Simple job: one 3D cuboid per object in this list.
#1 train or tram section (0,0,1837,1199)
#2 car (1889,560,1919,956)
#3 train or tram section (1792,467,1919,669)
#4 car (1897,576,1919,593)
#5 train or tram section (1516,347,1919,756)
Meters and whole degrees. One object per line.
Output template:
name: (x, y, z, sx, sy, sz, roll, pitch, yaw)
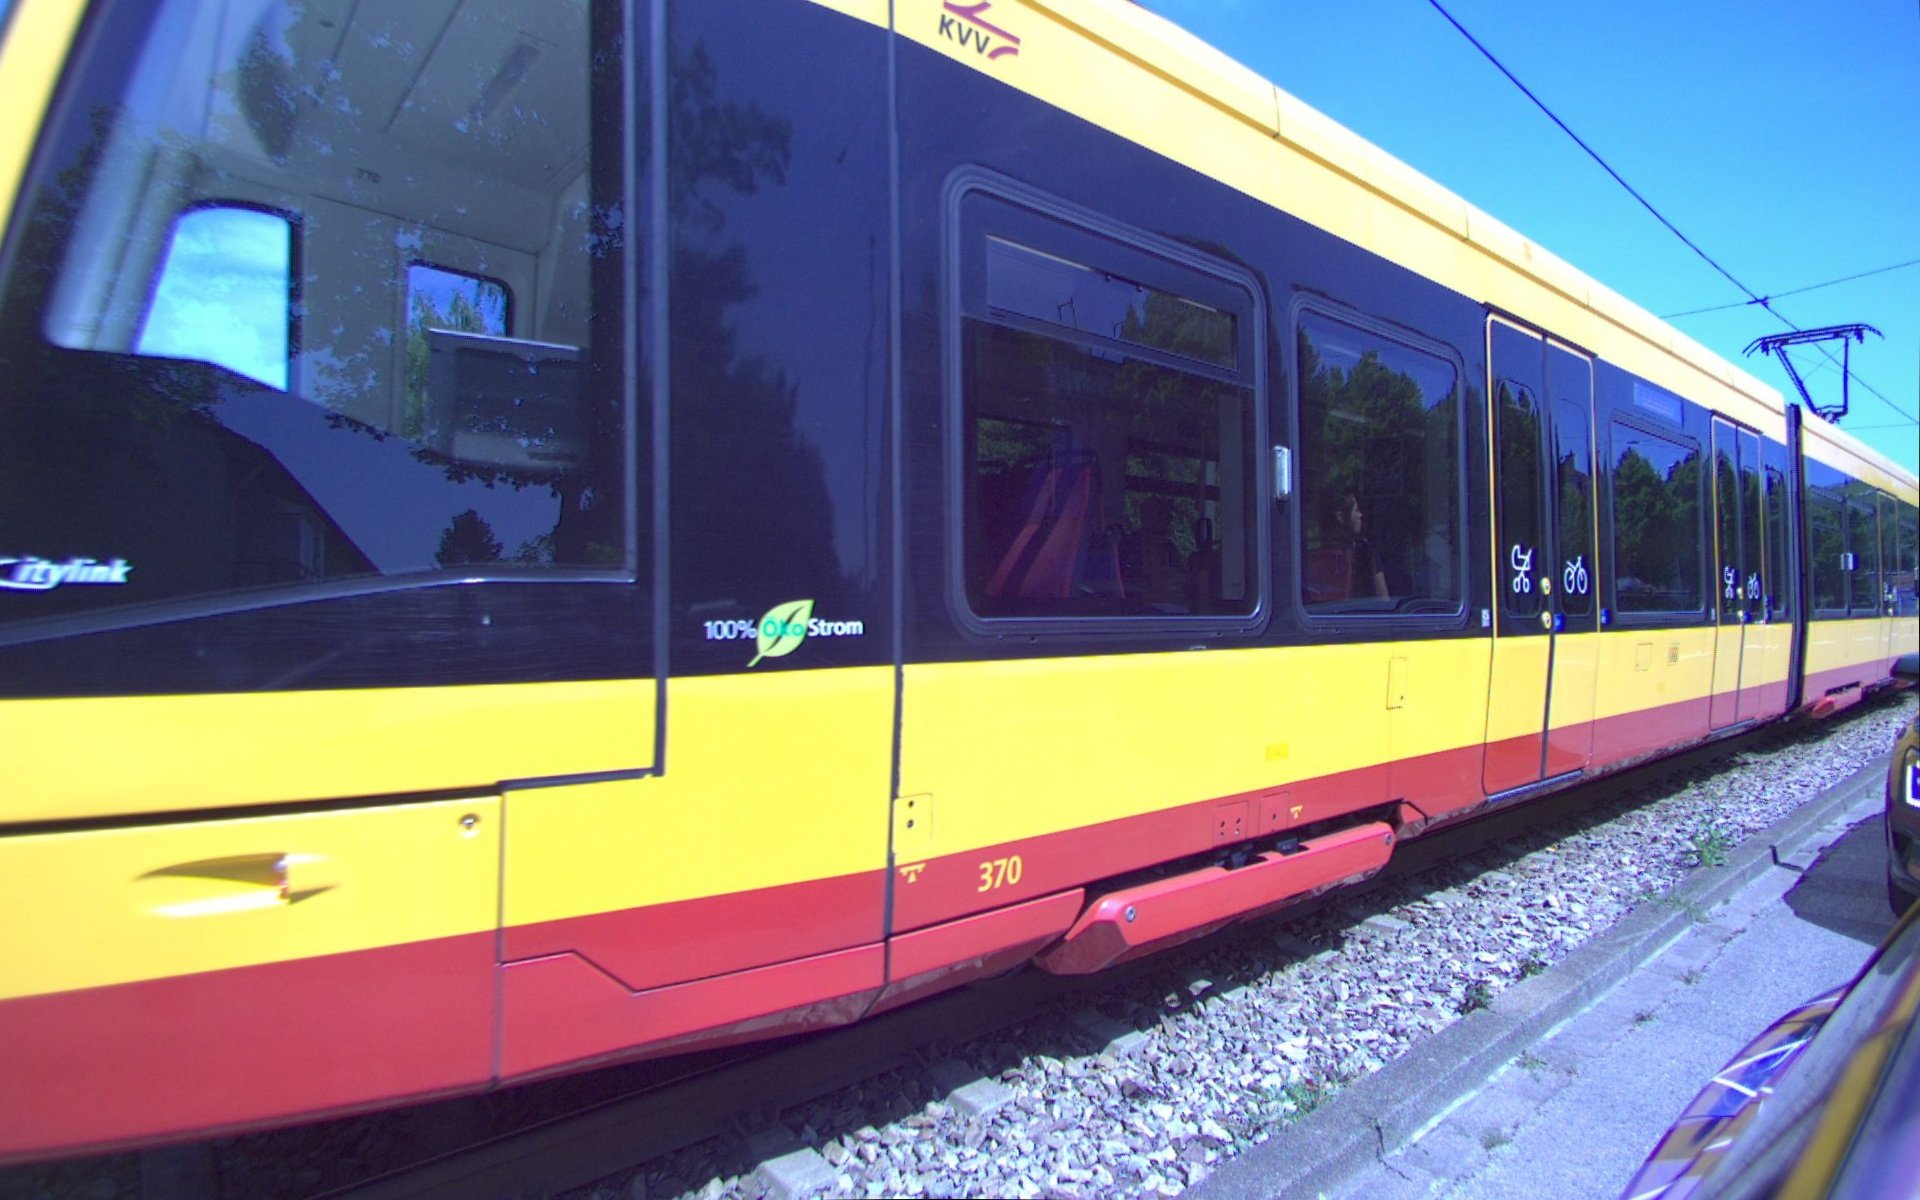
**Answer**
train or tram section: (2.093, 0.108, 6.053, 14.013, 3.855, 2.811, -1, 0, -41)
car: (6.033, 0.642, 4.920, 4.349, 1.603, 1.757, 0, 0, -41)
train or tram section: (23.326, -0.676, 24.237, 14.010, 3.856, 2.782, -1, 0, -40)
car: (87.270, -1.418, 92.679, 3.412, 1.514, 1.863, 0, 2, -43)
train or tram section: (12.655, -0.537, 15.146, 14.010, 3.859, 2.782, -1, 0, -40)
